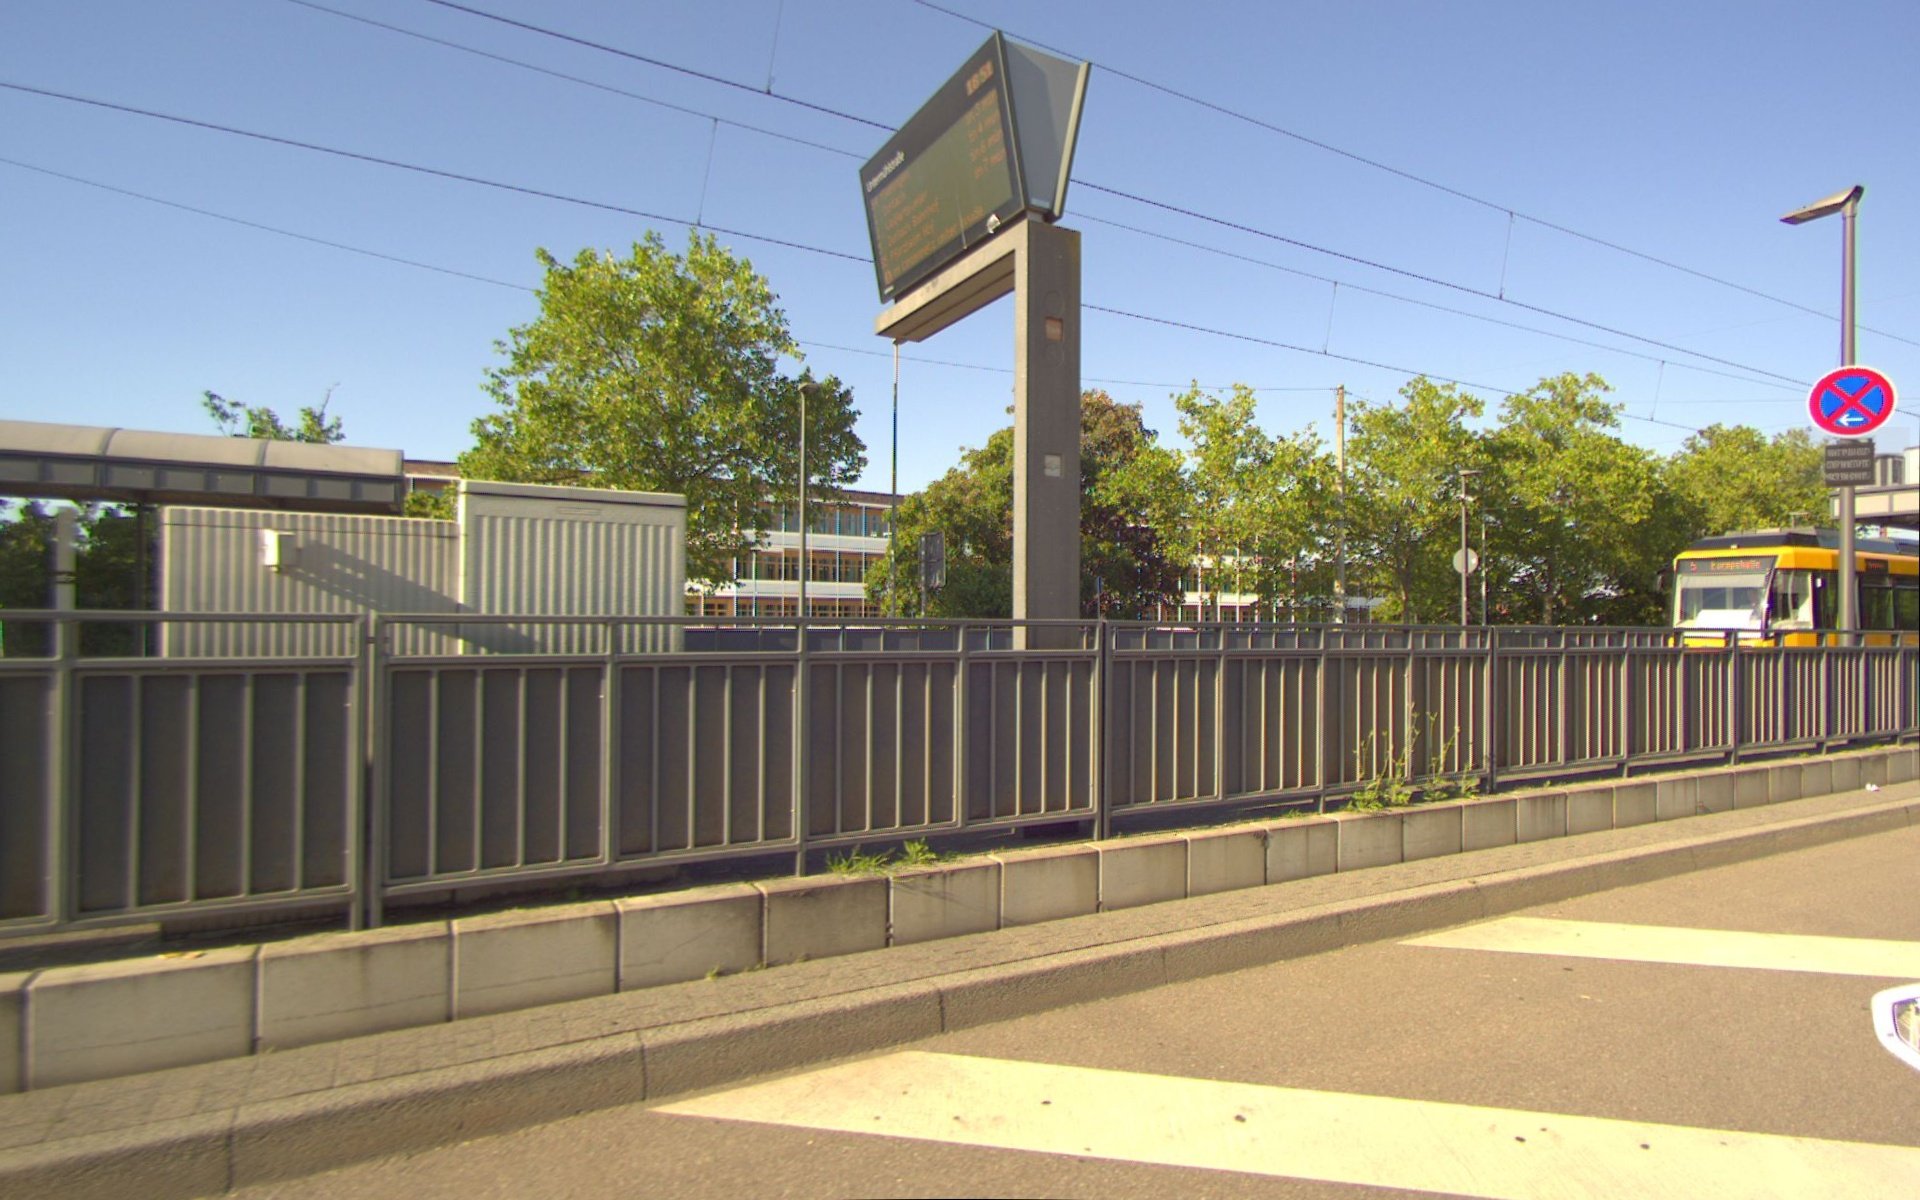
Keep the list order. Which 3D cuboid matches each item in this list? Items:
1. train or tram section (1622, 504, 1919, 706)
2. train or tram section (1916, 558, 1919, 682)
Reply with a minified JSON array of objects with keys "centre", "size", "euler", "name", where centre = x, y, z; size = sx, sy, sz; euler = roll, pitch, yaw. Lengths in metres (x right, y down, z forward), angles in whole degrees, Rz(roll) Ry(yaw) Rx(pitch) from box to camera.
[{"centre":[22.543,0.250,25.303],"size":[15.680,4.059,2.815],"euler":[1,0,-29],"name":"train or tram section"},{"centre":[35.114,0.746,32.126],"size":[12.809,3.736,2.815],"euler":[1,0,-29],"name":"train or tram section"}]
